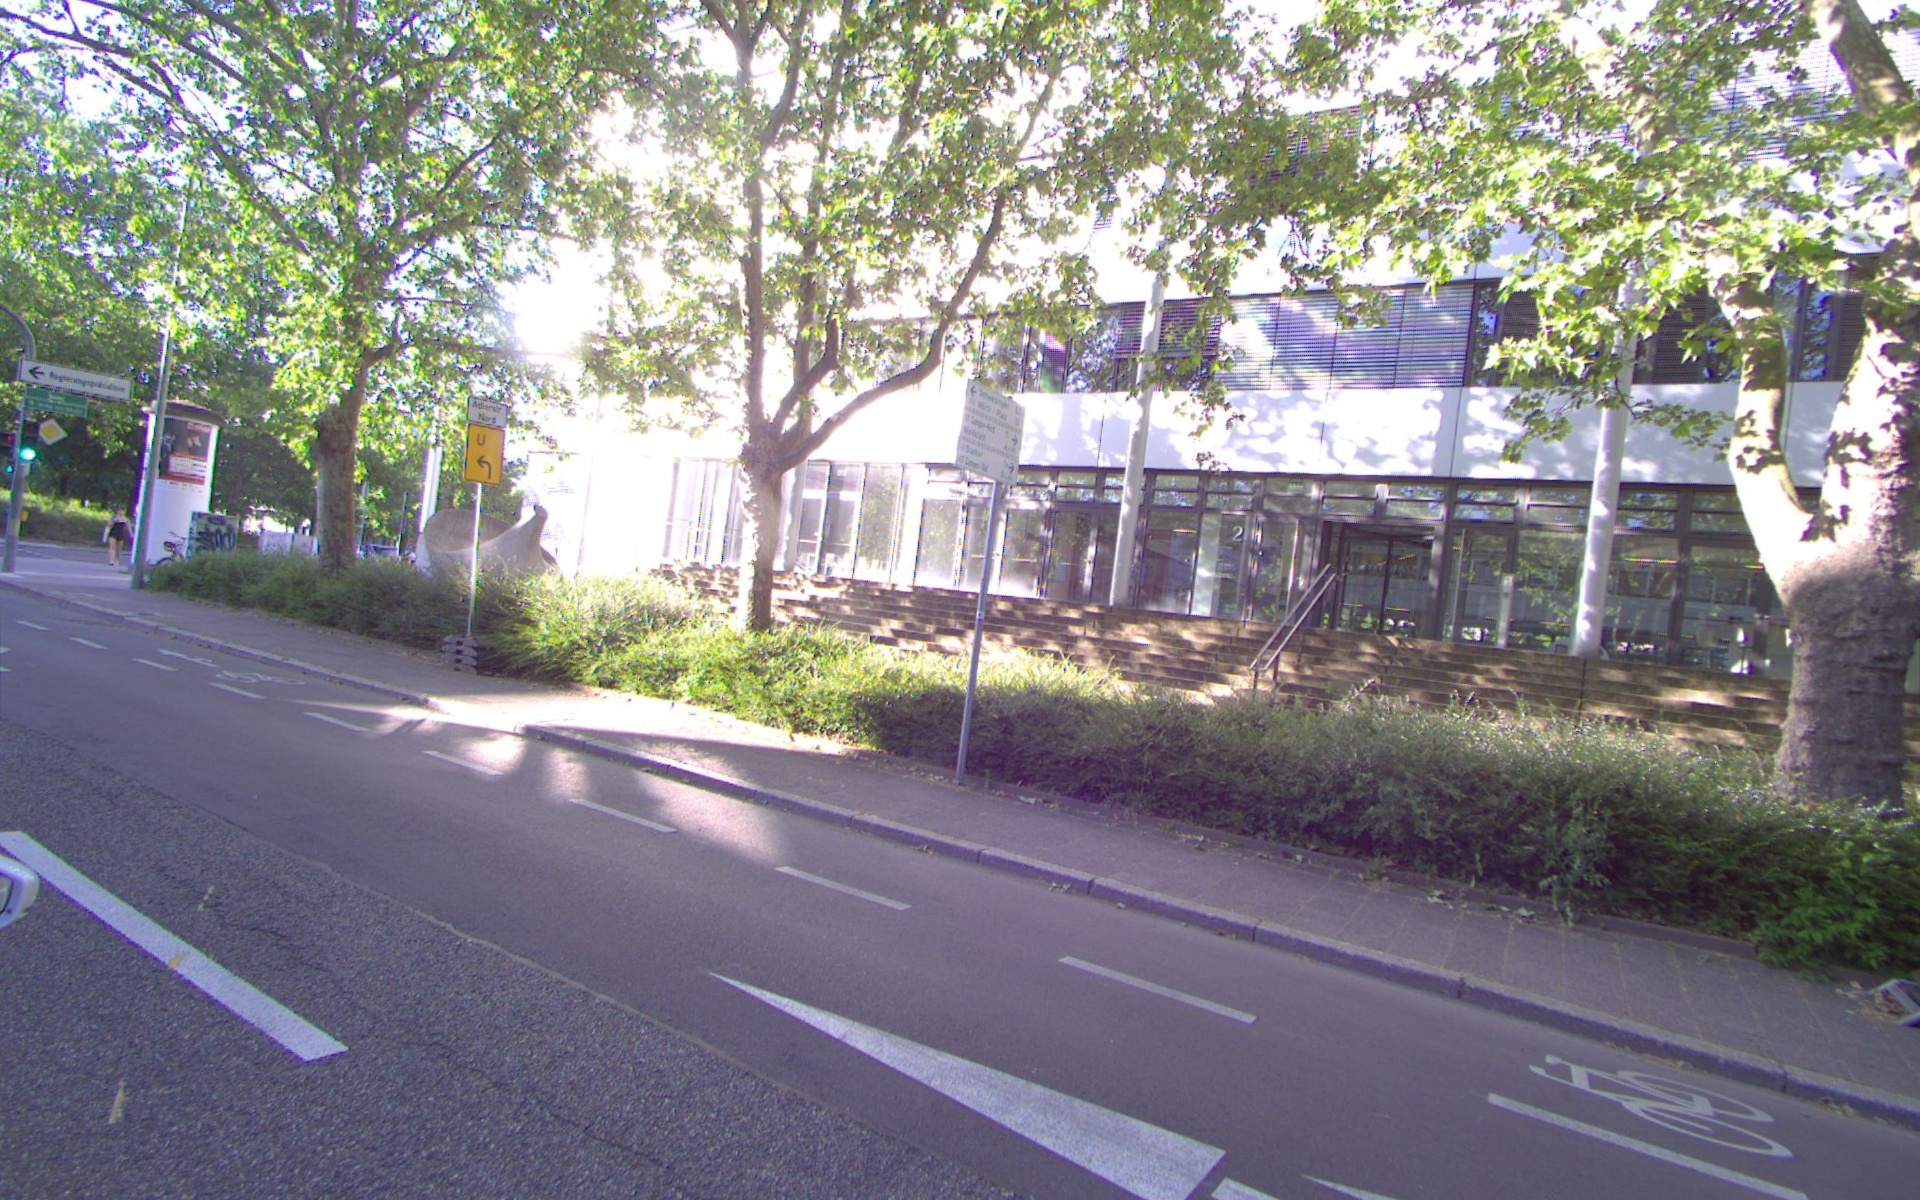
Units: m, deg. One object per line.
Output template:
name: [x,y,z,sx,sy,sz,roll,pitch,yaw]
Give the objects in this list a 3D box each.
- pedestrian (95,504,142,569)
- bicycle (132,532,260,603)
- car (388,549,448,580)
pedestrian: [-22.903,-1.725,27.375,0.795,1.649,0.897,8,-1,-42]
bicycle: [-15.945,-0.658,21.059,0.519,1.203,1.980,7,-2,30]
car: [-35.572,-2.335,65.973,3.732,1.500,1.633,6,-2,31]
